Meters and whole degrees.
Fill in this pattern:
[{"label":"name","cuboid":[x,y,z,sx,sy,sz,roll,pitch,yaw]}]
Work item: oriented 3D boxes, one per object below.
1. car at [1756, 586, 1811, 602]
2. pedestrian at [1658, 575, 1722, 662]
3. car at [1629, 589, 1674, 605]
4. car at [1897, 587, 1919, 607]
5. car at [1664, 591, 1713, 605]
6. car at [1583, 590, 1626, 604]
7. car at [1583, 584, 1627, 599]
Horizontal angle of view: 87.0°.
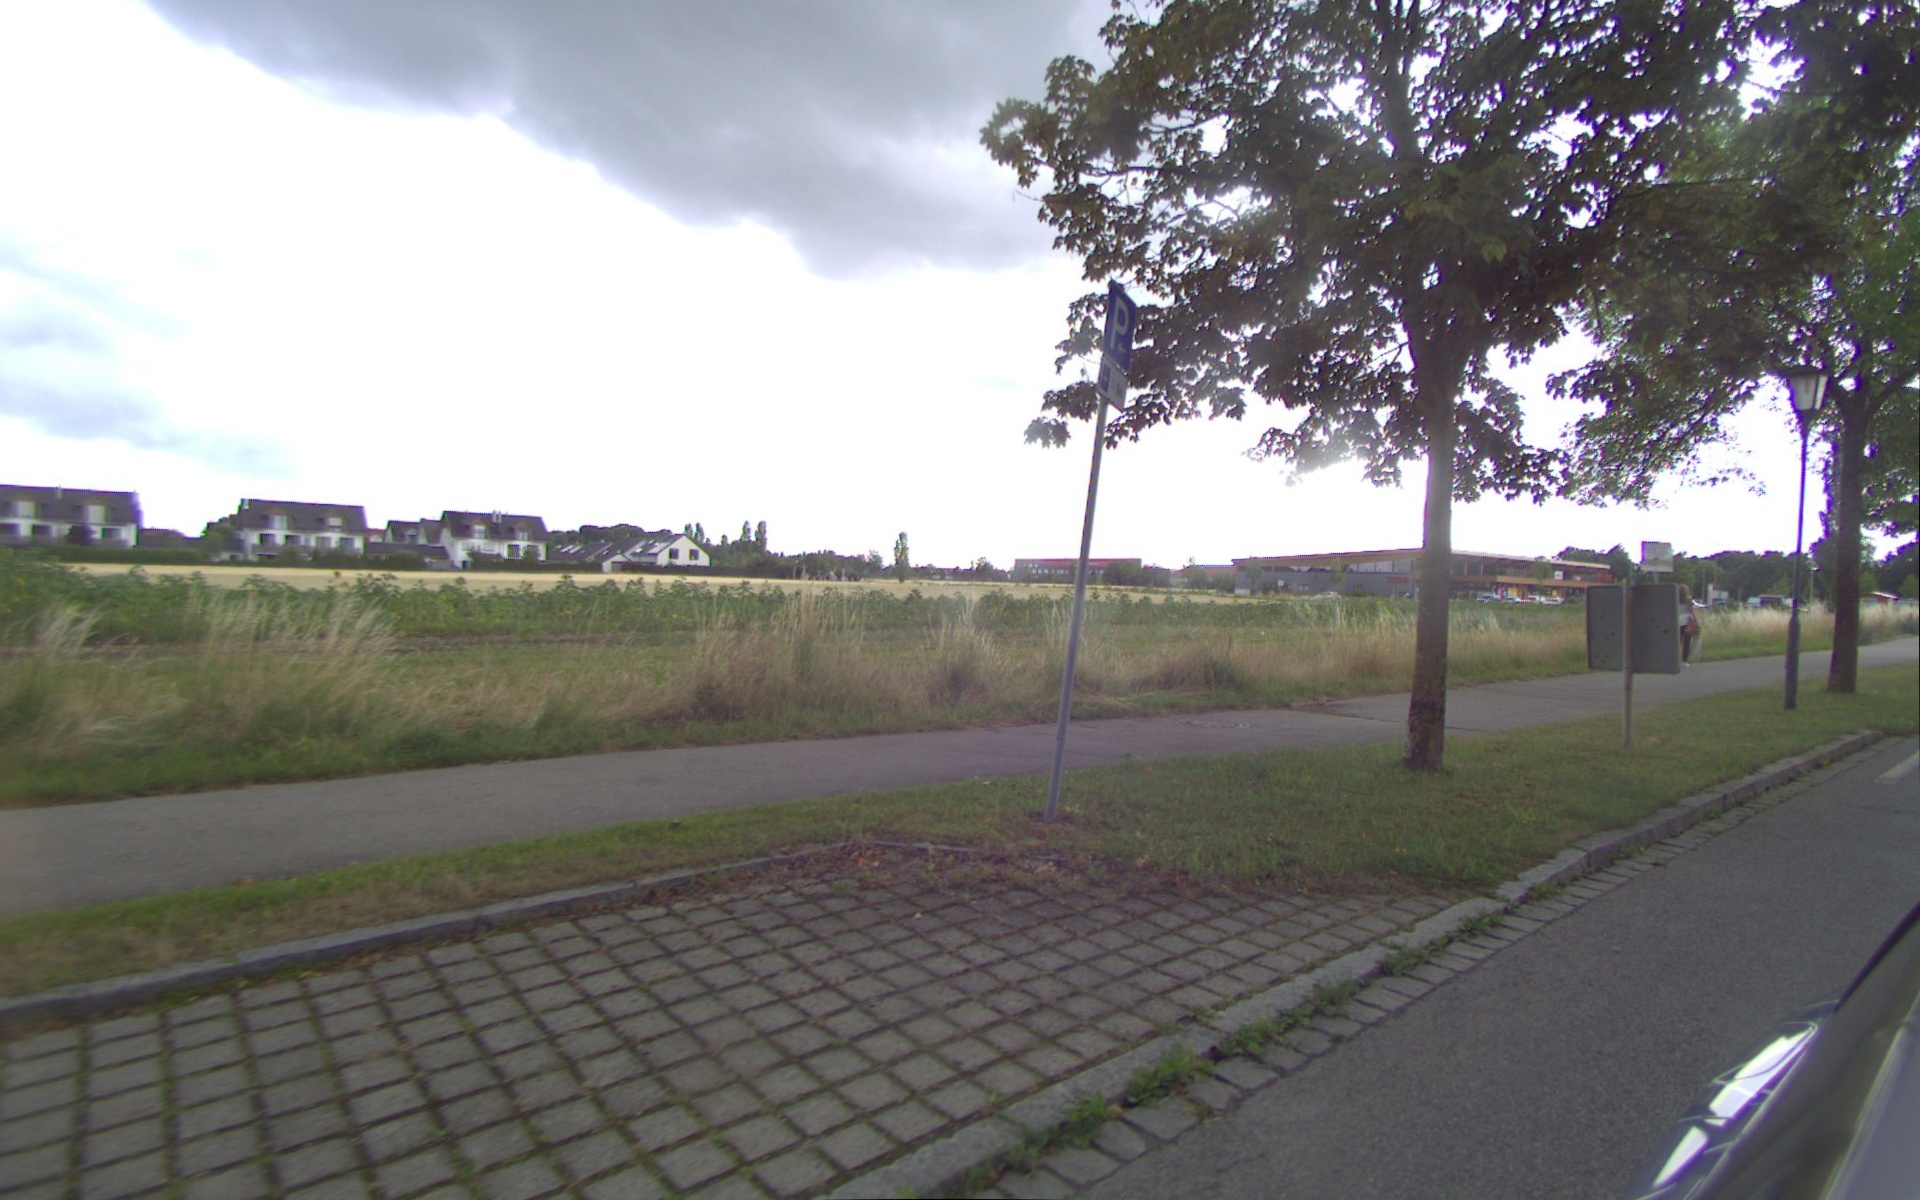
[{"label":"car","cuboid":[109.272,-0.761,134.374,1.967,2.039,5.513,0,0,-44]},{"label":"pedestrian","cuboid":[15.254,0.367,21.150,0.853,1.777,0.840,0,0,-34]},{"label":"car","cuboid":[94.072,-0.422,137.759,4.843,2.039,1.968,0,0,45]},{"label":"car","cuboid":[101.891,-0.339,105.891,1.967,2.039,5.513,0,0,-44]},{"label":"car","cuboid":[105.617,-0.277,146.794,1.967,2.039,5.513,0,0,-44]},{"label":"car","cuboid":[92.375,-0.441,145.088,4.843,2.039,1.968,0,0,45]},{"label":"car","cuboid":[88.831,-1.103,139.491,4.843,2.039,1.968,0,0,45]}]
